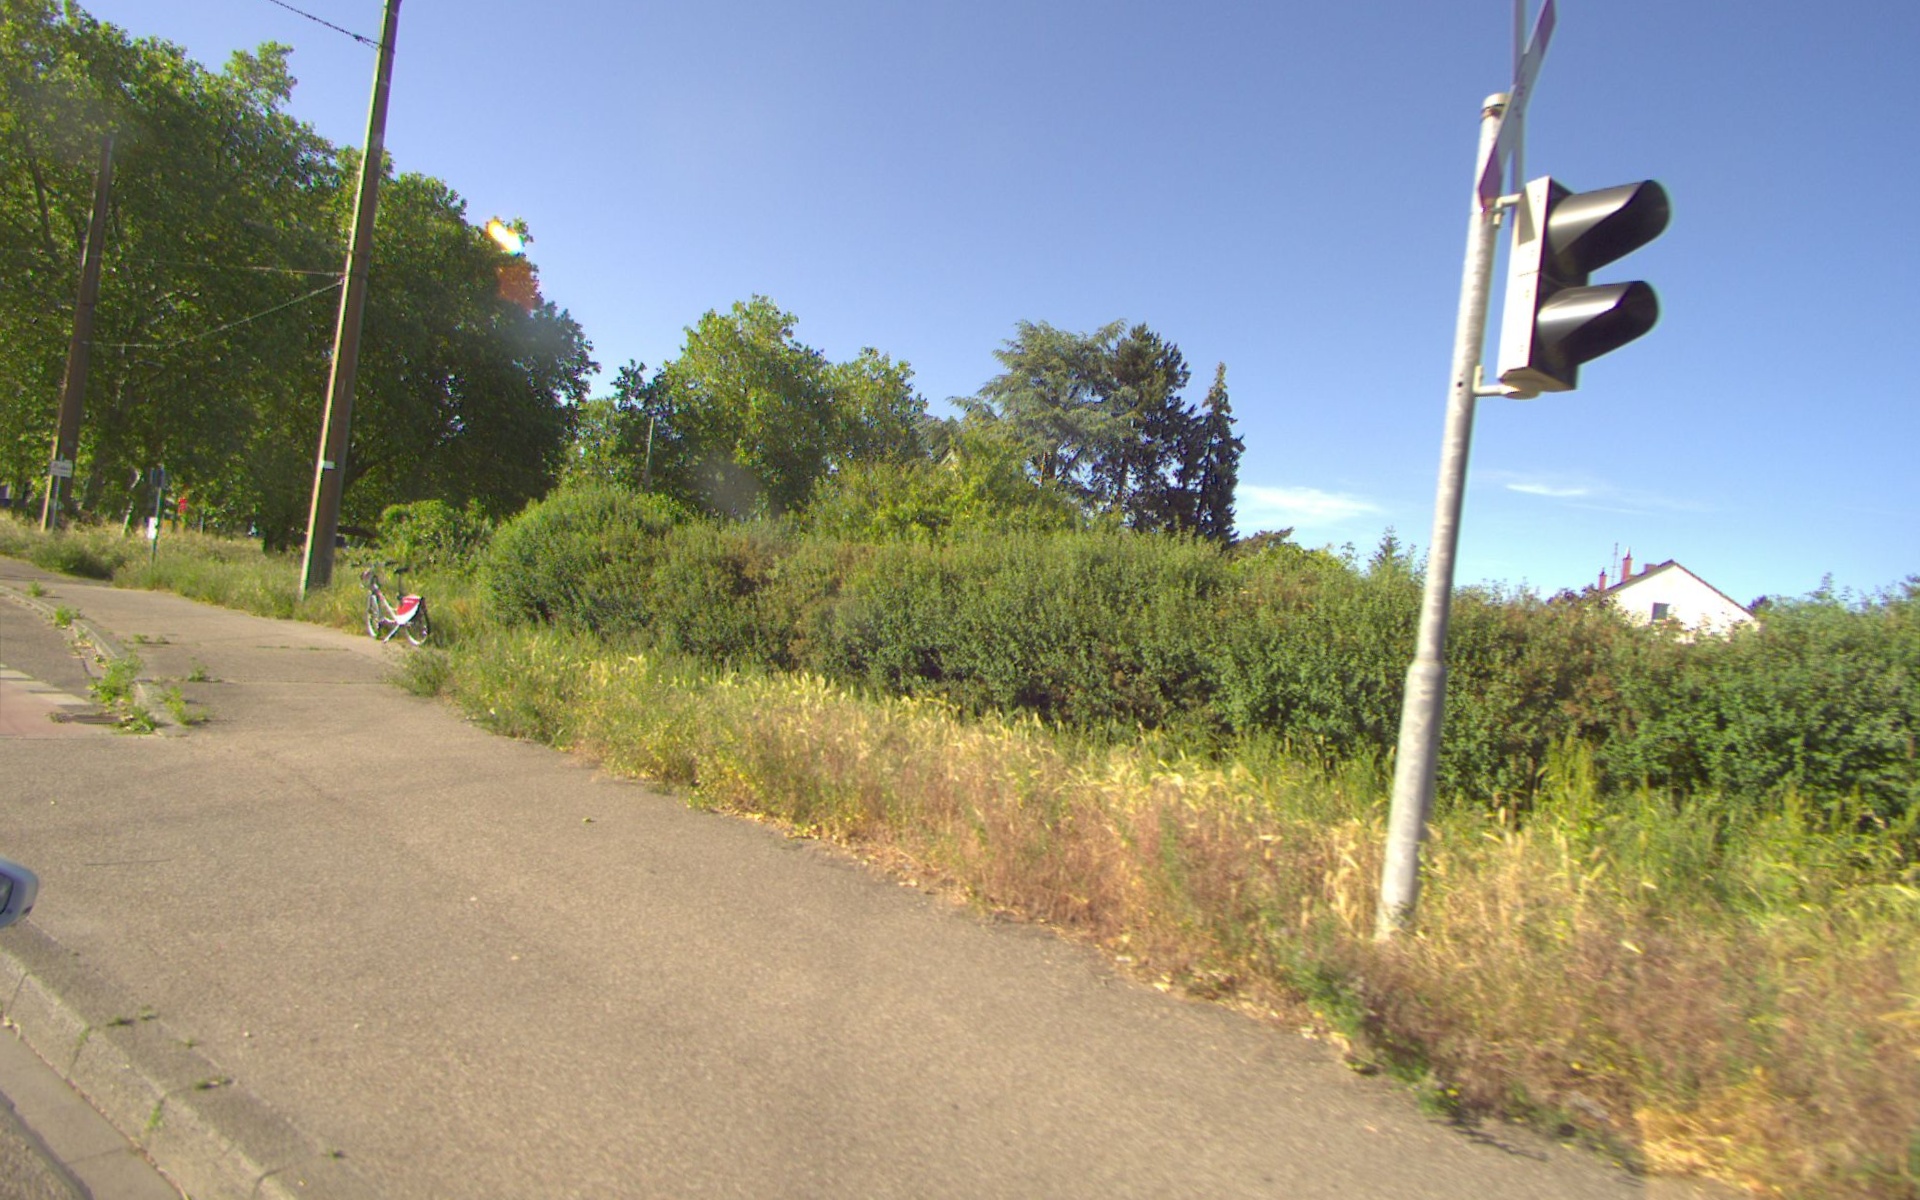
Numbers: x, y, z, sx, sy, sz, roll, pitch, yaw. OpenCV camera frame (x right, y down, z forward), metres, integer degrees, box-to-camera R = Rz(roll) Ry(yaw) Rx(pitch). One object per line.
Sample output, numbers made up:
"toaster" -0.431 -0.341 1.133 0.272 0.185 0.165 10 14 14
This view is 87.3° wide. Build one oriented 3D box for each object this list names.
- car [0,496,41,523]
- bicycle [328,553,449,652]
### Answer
"car" -85.336 -8.274 89.662 1.962 1.900 4.712 7 -3 10
"bicycle" -7.958 0.015 13.972 2.060 1.148 0.366 7 -1 30
